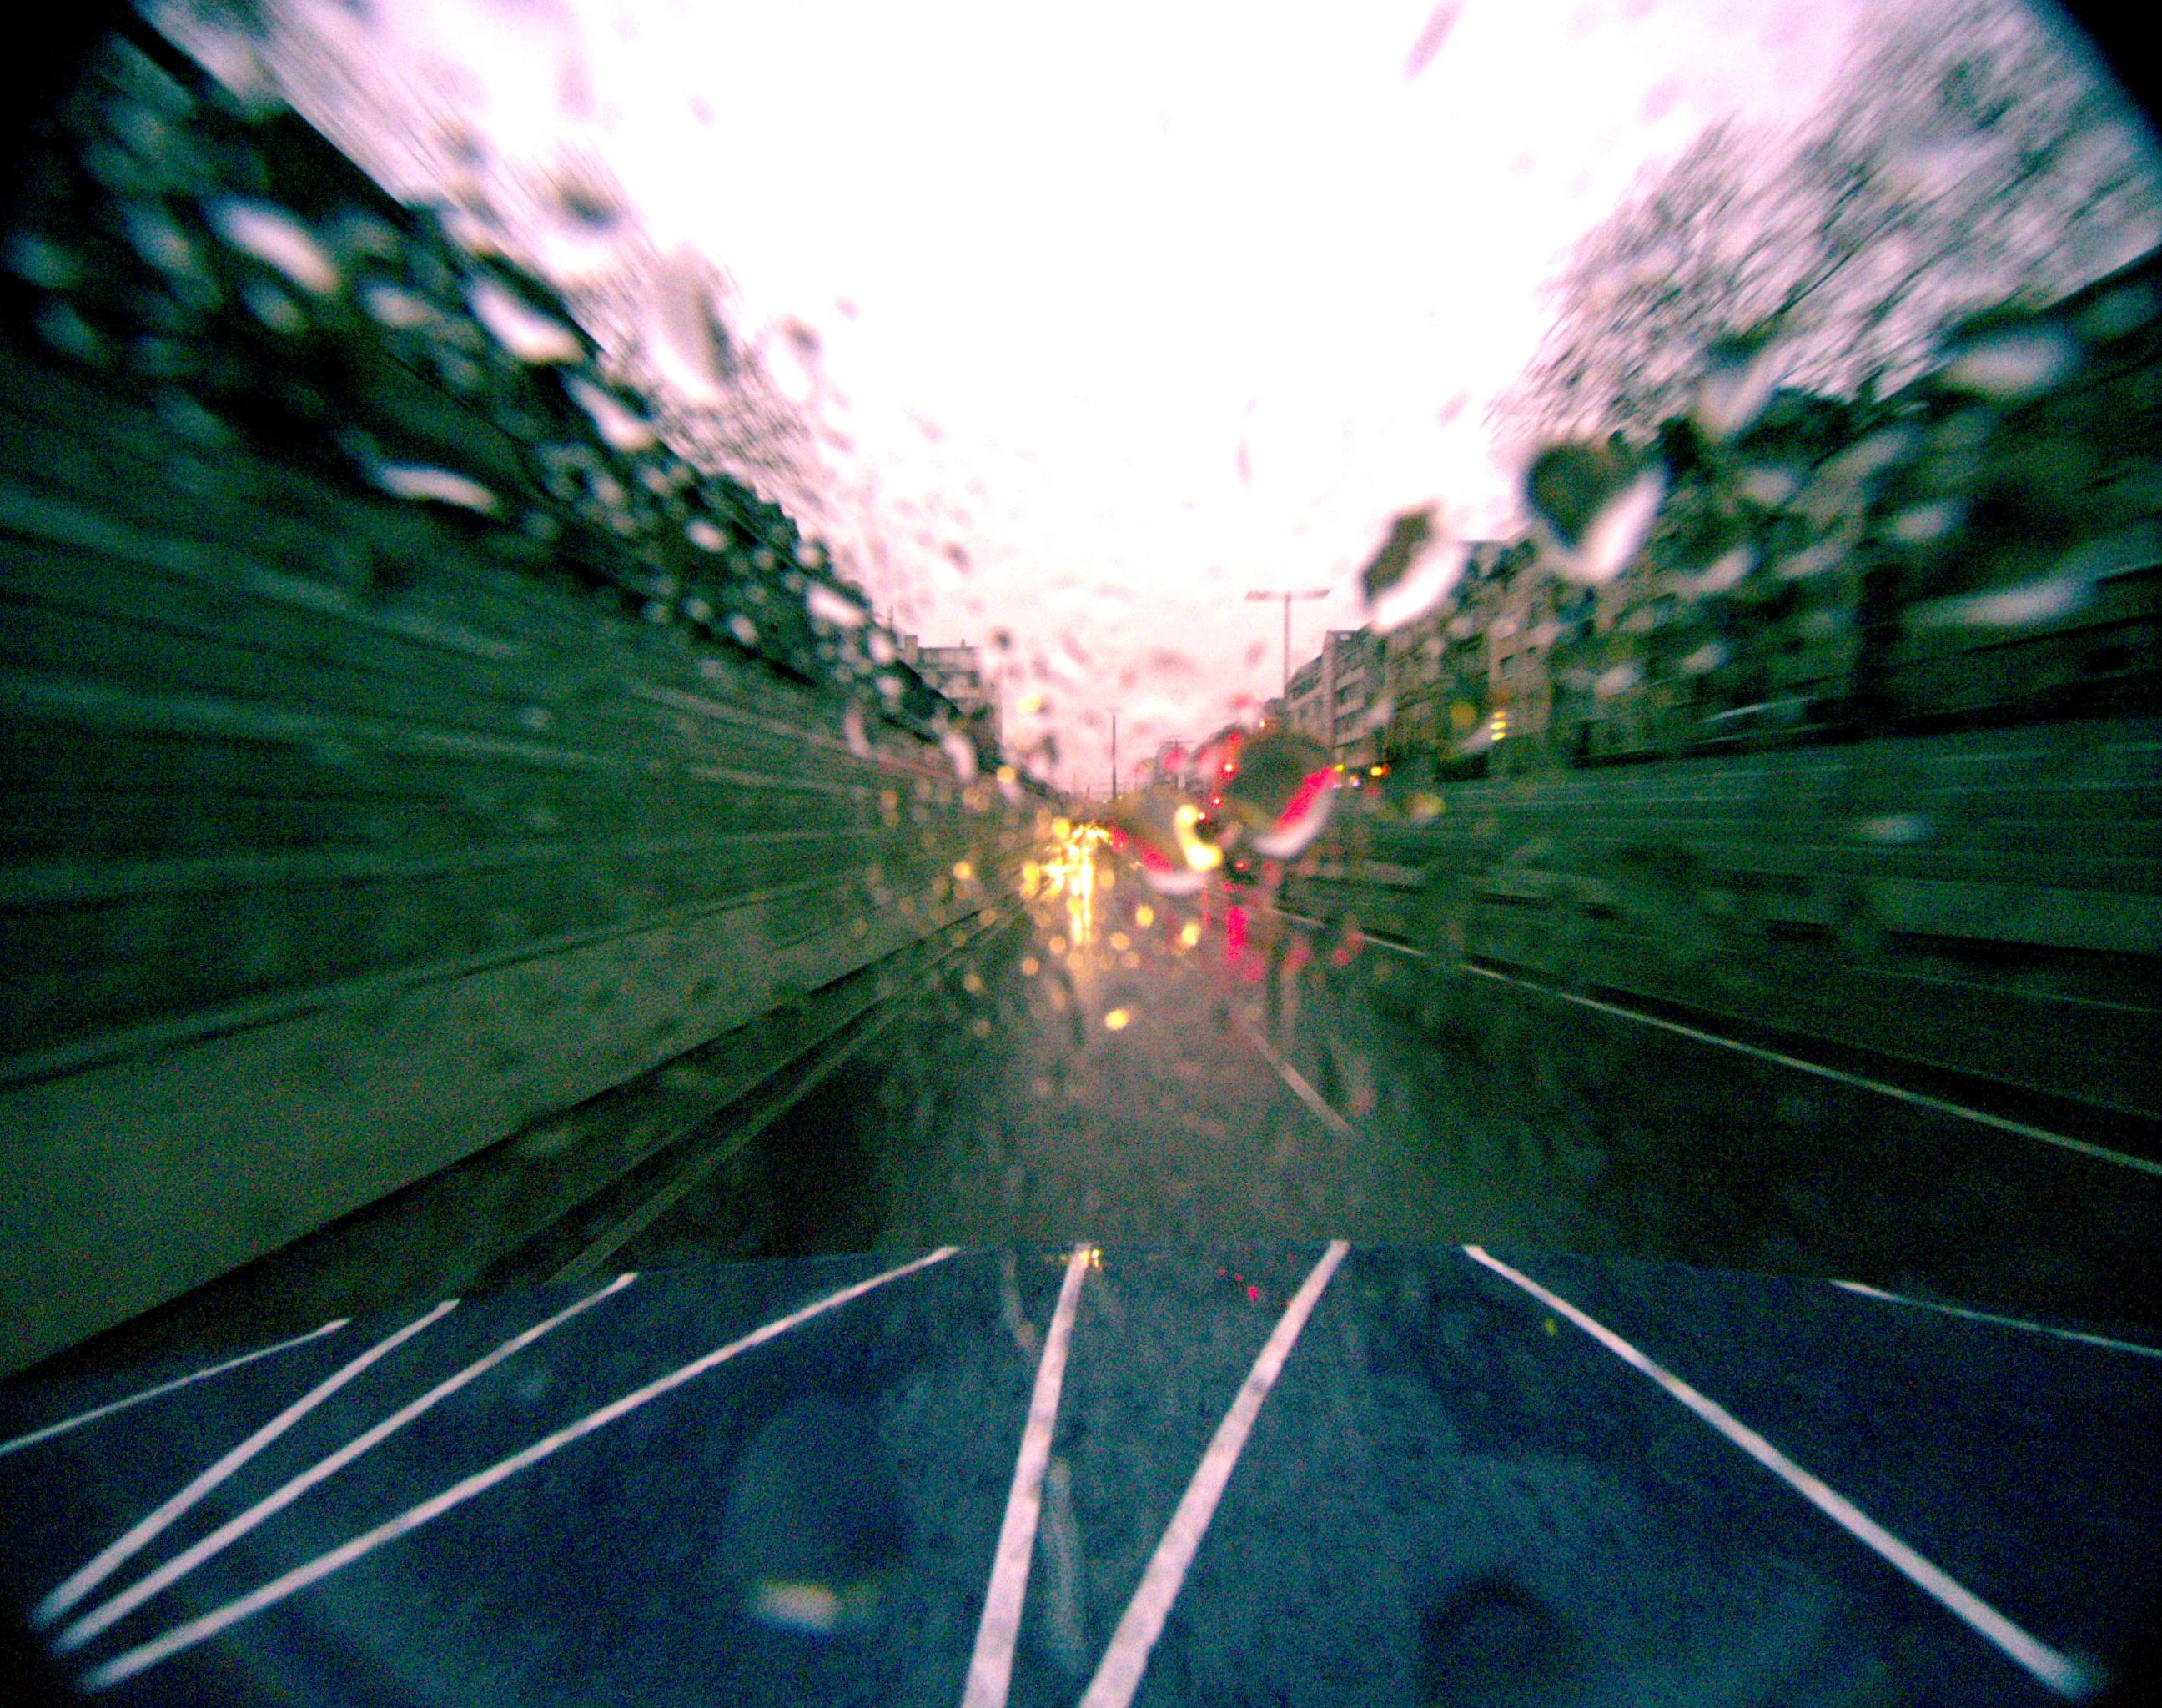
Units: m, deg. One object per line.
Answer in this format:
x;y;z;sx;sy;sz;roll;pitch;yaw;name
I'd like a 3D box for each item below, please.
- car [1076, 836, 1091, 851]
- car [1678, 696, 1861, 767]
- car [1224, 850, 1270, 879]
0.301;-1.564;112.758;2.031;2.018;4.421;-2;2;-2;car
17.479;-3.069;19.524;1.569;1.390;3.404;1;3;1;car
8.651;0.519;39.815;1.575;1.462;3.686;-1;1;0;car
